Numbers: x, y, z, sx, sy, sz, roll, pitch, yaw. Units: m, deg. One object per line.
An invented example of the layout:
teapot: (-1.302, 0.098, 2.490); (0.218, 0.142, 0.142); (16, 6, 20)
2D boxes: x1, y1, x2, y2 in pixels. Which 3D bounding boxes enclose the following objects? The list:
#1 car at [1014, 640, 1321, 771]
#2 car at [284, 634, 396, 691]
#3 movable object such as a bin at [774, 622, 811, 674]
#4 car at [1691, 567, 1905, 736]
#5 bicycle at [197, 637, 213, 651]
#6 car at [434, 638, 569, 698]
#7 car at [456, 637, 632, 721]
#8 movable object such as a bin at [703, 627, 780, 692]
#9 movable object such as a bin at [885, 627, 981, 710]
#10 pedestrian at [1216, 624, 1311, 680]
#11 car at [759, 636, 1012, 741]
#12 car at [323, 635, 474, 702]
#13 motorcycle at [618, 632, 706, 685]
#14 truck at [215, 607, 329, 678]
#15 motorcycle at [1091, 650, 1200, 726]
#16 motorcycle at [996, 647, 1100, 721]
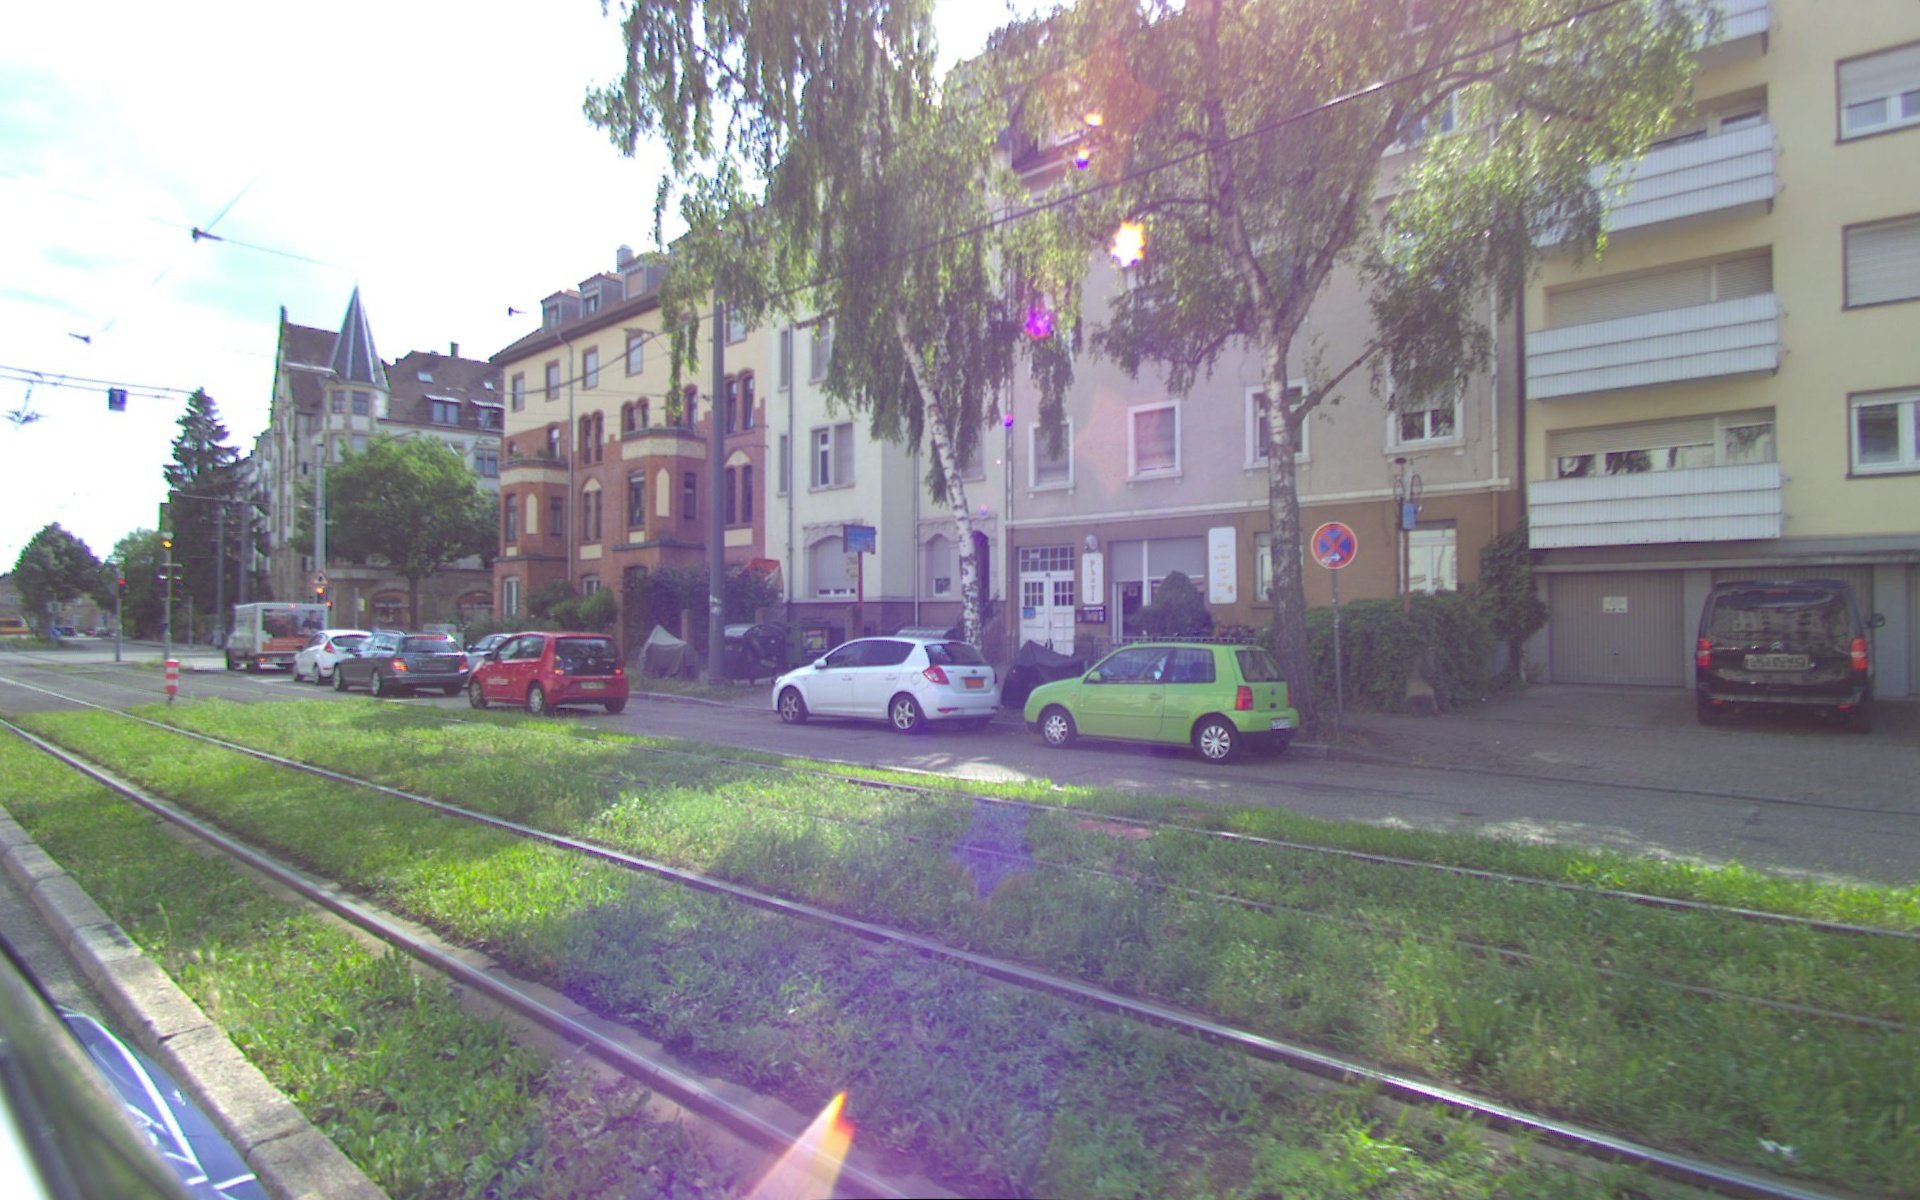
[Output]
car: (2.591, 1.254, 13.132); (3.614, 1.443, 1.577); (-2, -3, 43)
car: (-17.104, 1.671, 27.826); (1.734, 1.425, 4.137); (4, -4, -44)
movable object such as a bin: (-4.472, 1.273, 27.005); (0.698, 1.372, 0.666); (-2, -2, 38)
car: (11.866, 0.607, 14.238); (1.938, 2.029, 3.942); (-2, 0, 45)
bicycle: (-54.906, 3.171, 73.599); (0.616, 0.979, 2.337); (2, -3, -45)
car: (-11.703, 1.665, 25.707); (3.995, 1.366, 1.736); (-2, -3, 43)
car: (-7.697, 1.375, 18.588); (3.692, 1.397, 1.562); (-2, -3, 42)
movable object such as a bin: (-5.071, 1.359, 23.444); (1.521, 1.377, 0.941); (-2, 3, 41)
movable object such as a bin: (-0.504, 1.249, 18.897); (1.521, 1.440, 0.941); (-2, 0, 41)
pedestrian: (6.682, 1.123, 22.197); (1.066, 1.147, 2.378); (-2, -3, 42)
car: (-1.306, 1.343, 16.418); (4.225, 1.489, 1.627); (-2, -4, 42)
car: (-13.021, 1.535, 23.340); (4.512, 1.366, 1.735); (-1, -4, 43)
motorcycle: (-7.416, 1.437, 25.141); (2.290, 1.252, 0.892); (-2, -2, 36)
truck: (-23.913, 1.447, 35.047); (2.159, 2.231, 6.617); (2, -3, -44)
motorcycle: (2.879, 1.351, 15.830); (1.632, 1.050, 0.494); (0, 2, 41)
motorcycle: (1.461, 1.383, 17.045); (1.632, 1.160, 0.727); (-2, -3, 40)
